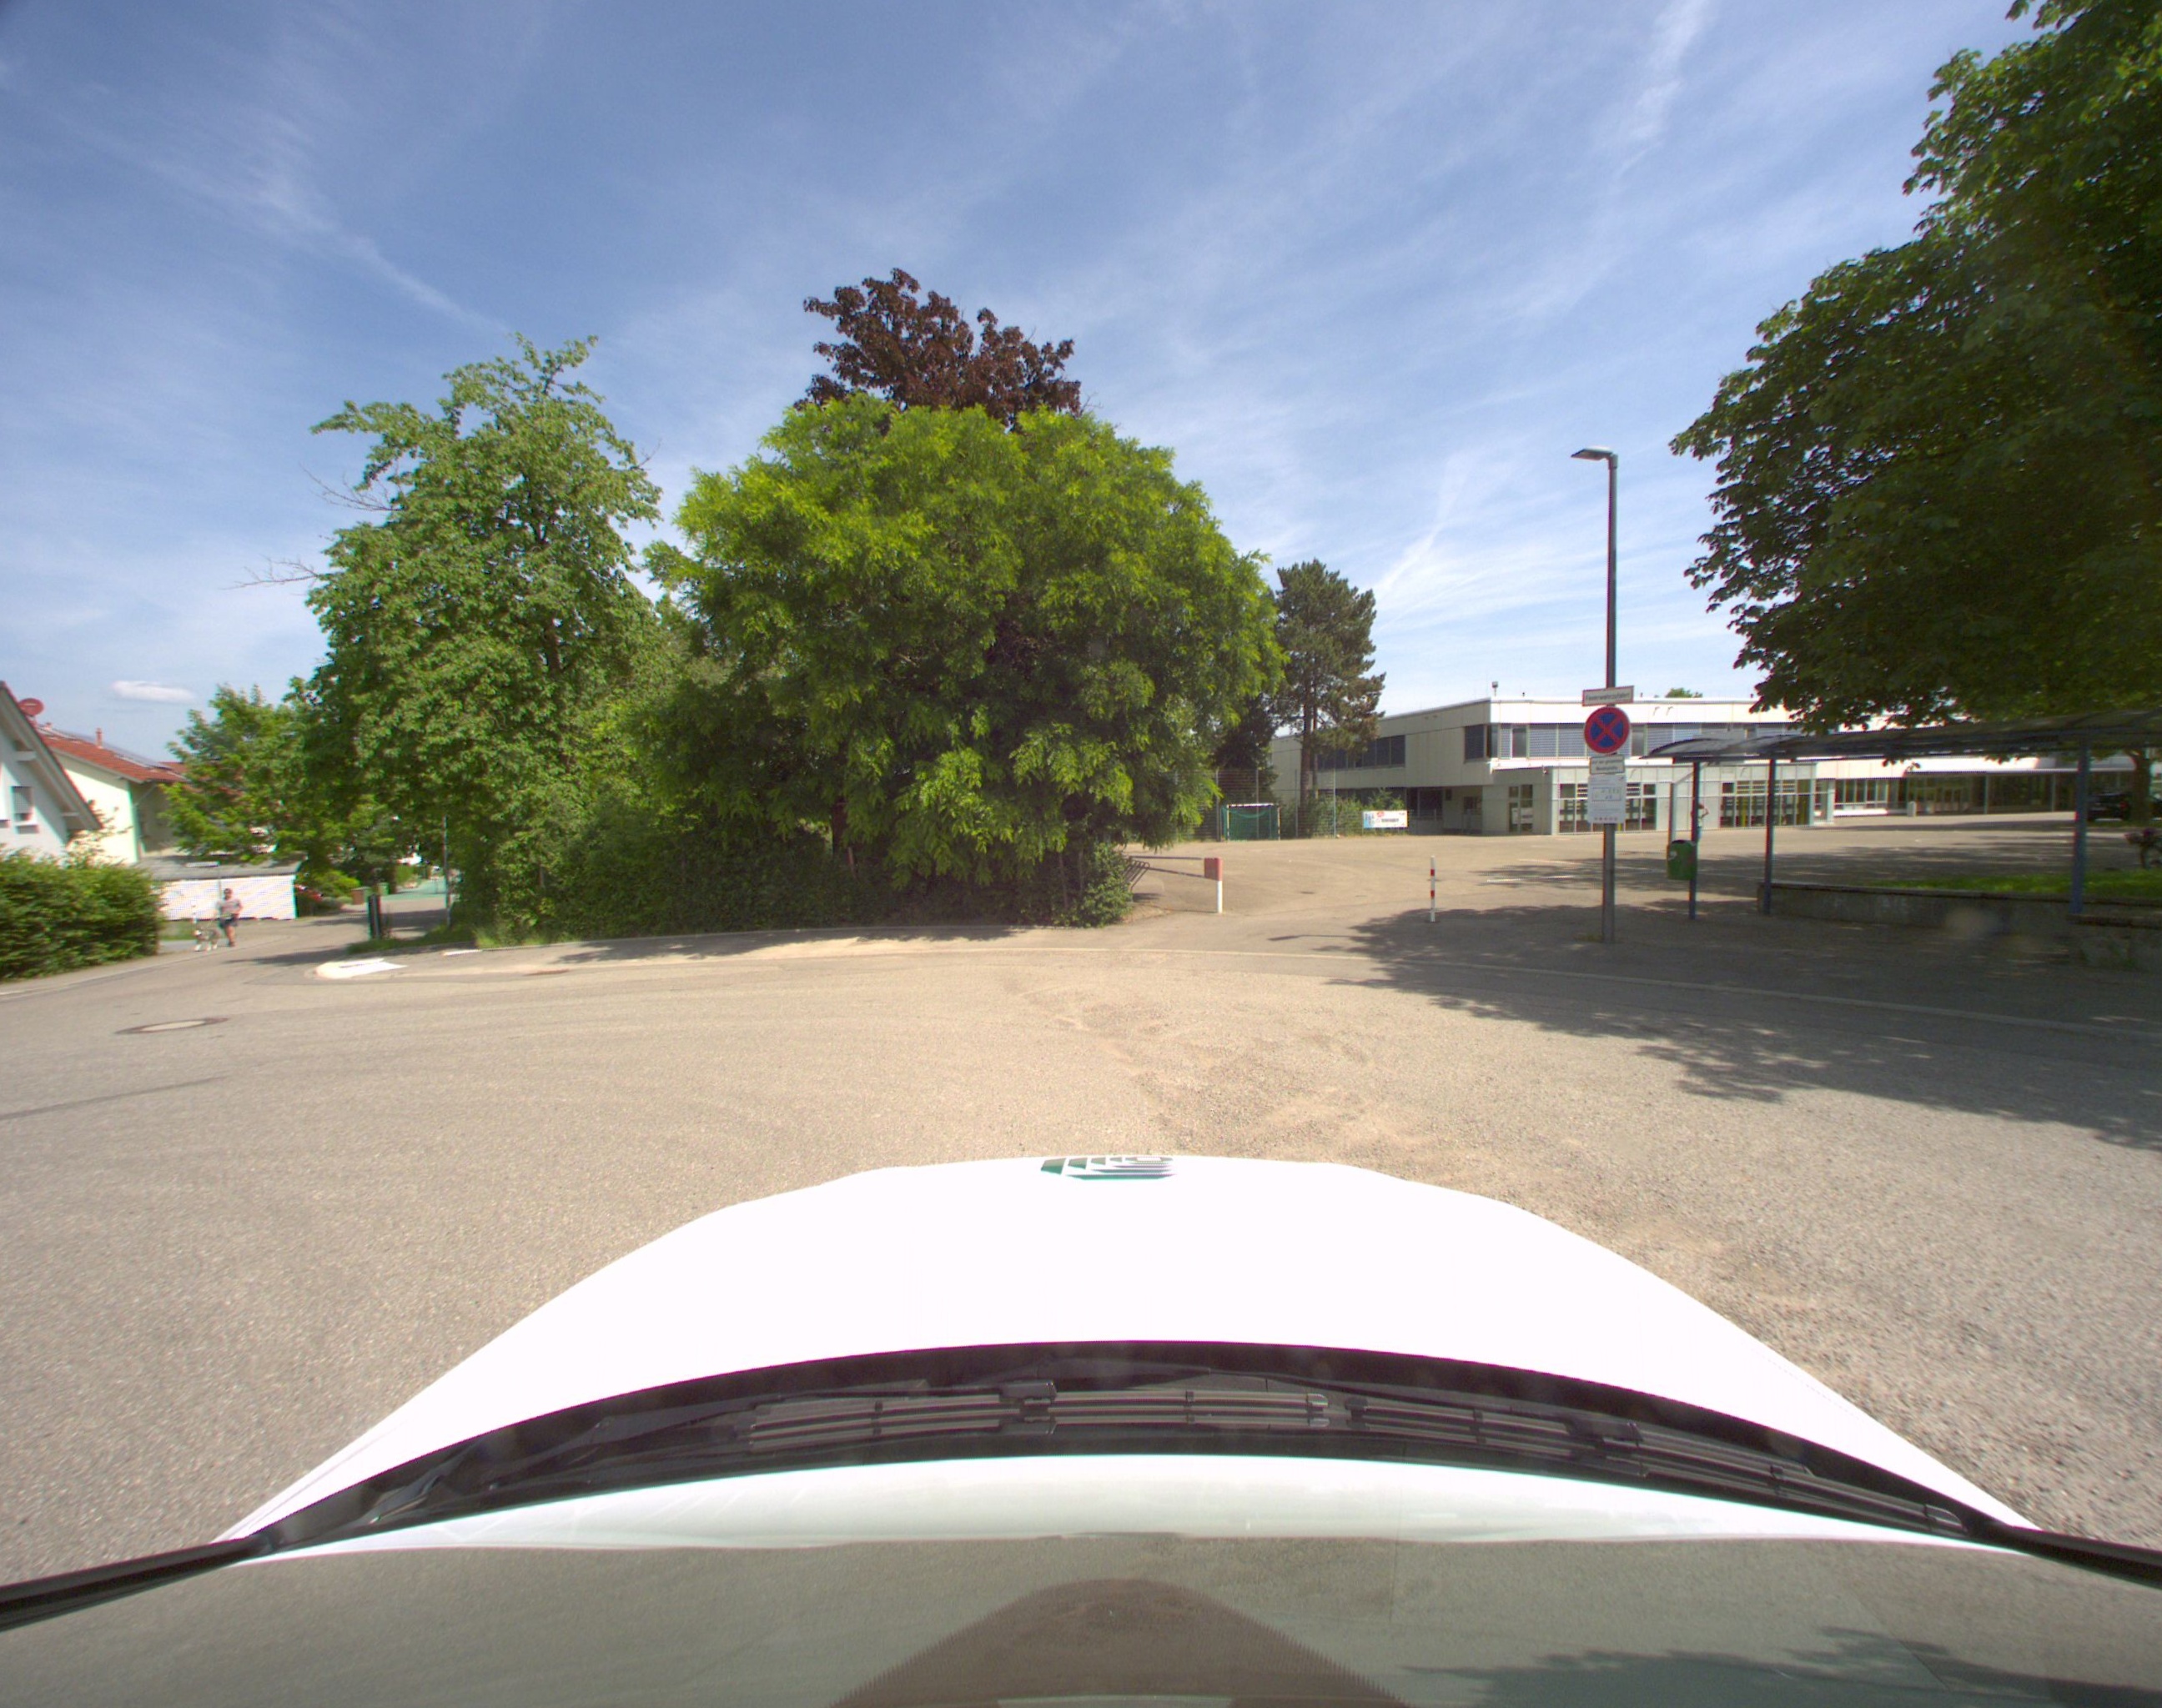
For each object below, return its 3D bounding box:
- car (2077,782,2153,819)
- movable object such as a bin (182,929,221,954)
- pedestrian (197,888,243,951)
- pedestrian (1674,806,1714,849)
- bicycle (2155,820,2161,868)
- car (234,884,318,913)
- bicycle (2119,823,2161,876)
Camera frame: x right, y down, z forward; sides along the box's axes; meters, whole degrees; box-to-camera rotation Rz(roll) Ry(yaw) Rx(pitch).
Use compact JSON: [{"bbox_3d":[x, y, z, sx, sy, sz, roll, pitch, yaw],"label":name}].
[{"bbox_3d":[54.280,-2.790,42.750,3.415,1.834,1.683,-2,2,-24],"label":"car"},{"bbox_3d":[-25.333,2.506,23.457,0.552,0.629,1.009,-2,-2,-36],"label":"movable object such as a bin"},{"bbox_3d":[-26.459,2.008,25.036,0.853,1.820,0.825,-3,-3,-42],"label":"pedestrian"},{"bbox_3d":[21.040,-0.914,27.961,1.056,1.423,0.925,1,3,37],"label":"pedestrian"},{"bbox_3d":[24.695,-0.223,17.402,0.573,1.039,2.050,-2,1,-29],"label":"bicycle"},{"bbox_3d":[-47.427,2.599,48.005,1.566,1.420,3.447,0,1,43],"label":"car"},{"bbox_3d":[22.670,-0.118,16.962,1.889,1.039,0.594,-2,1,-14],"label":"bicycle"}]
